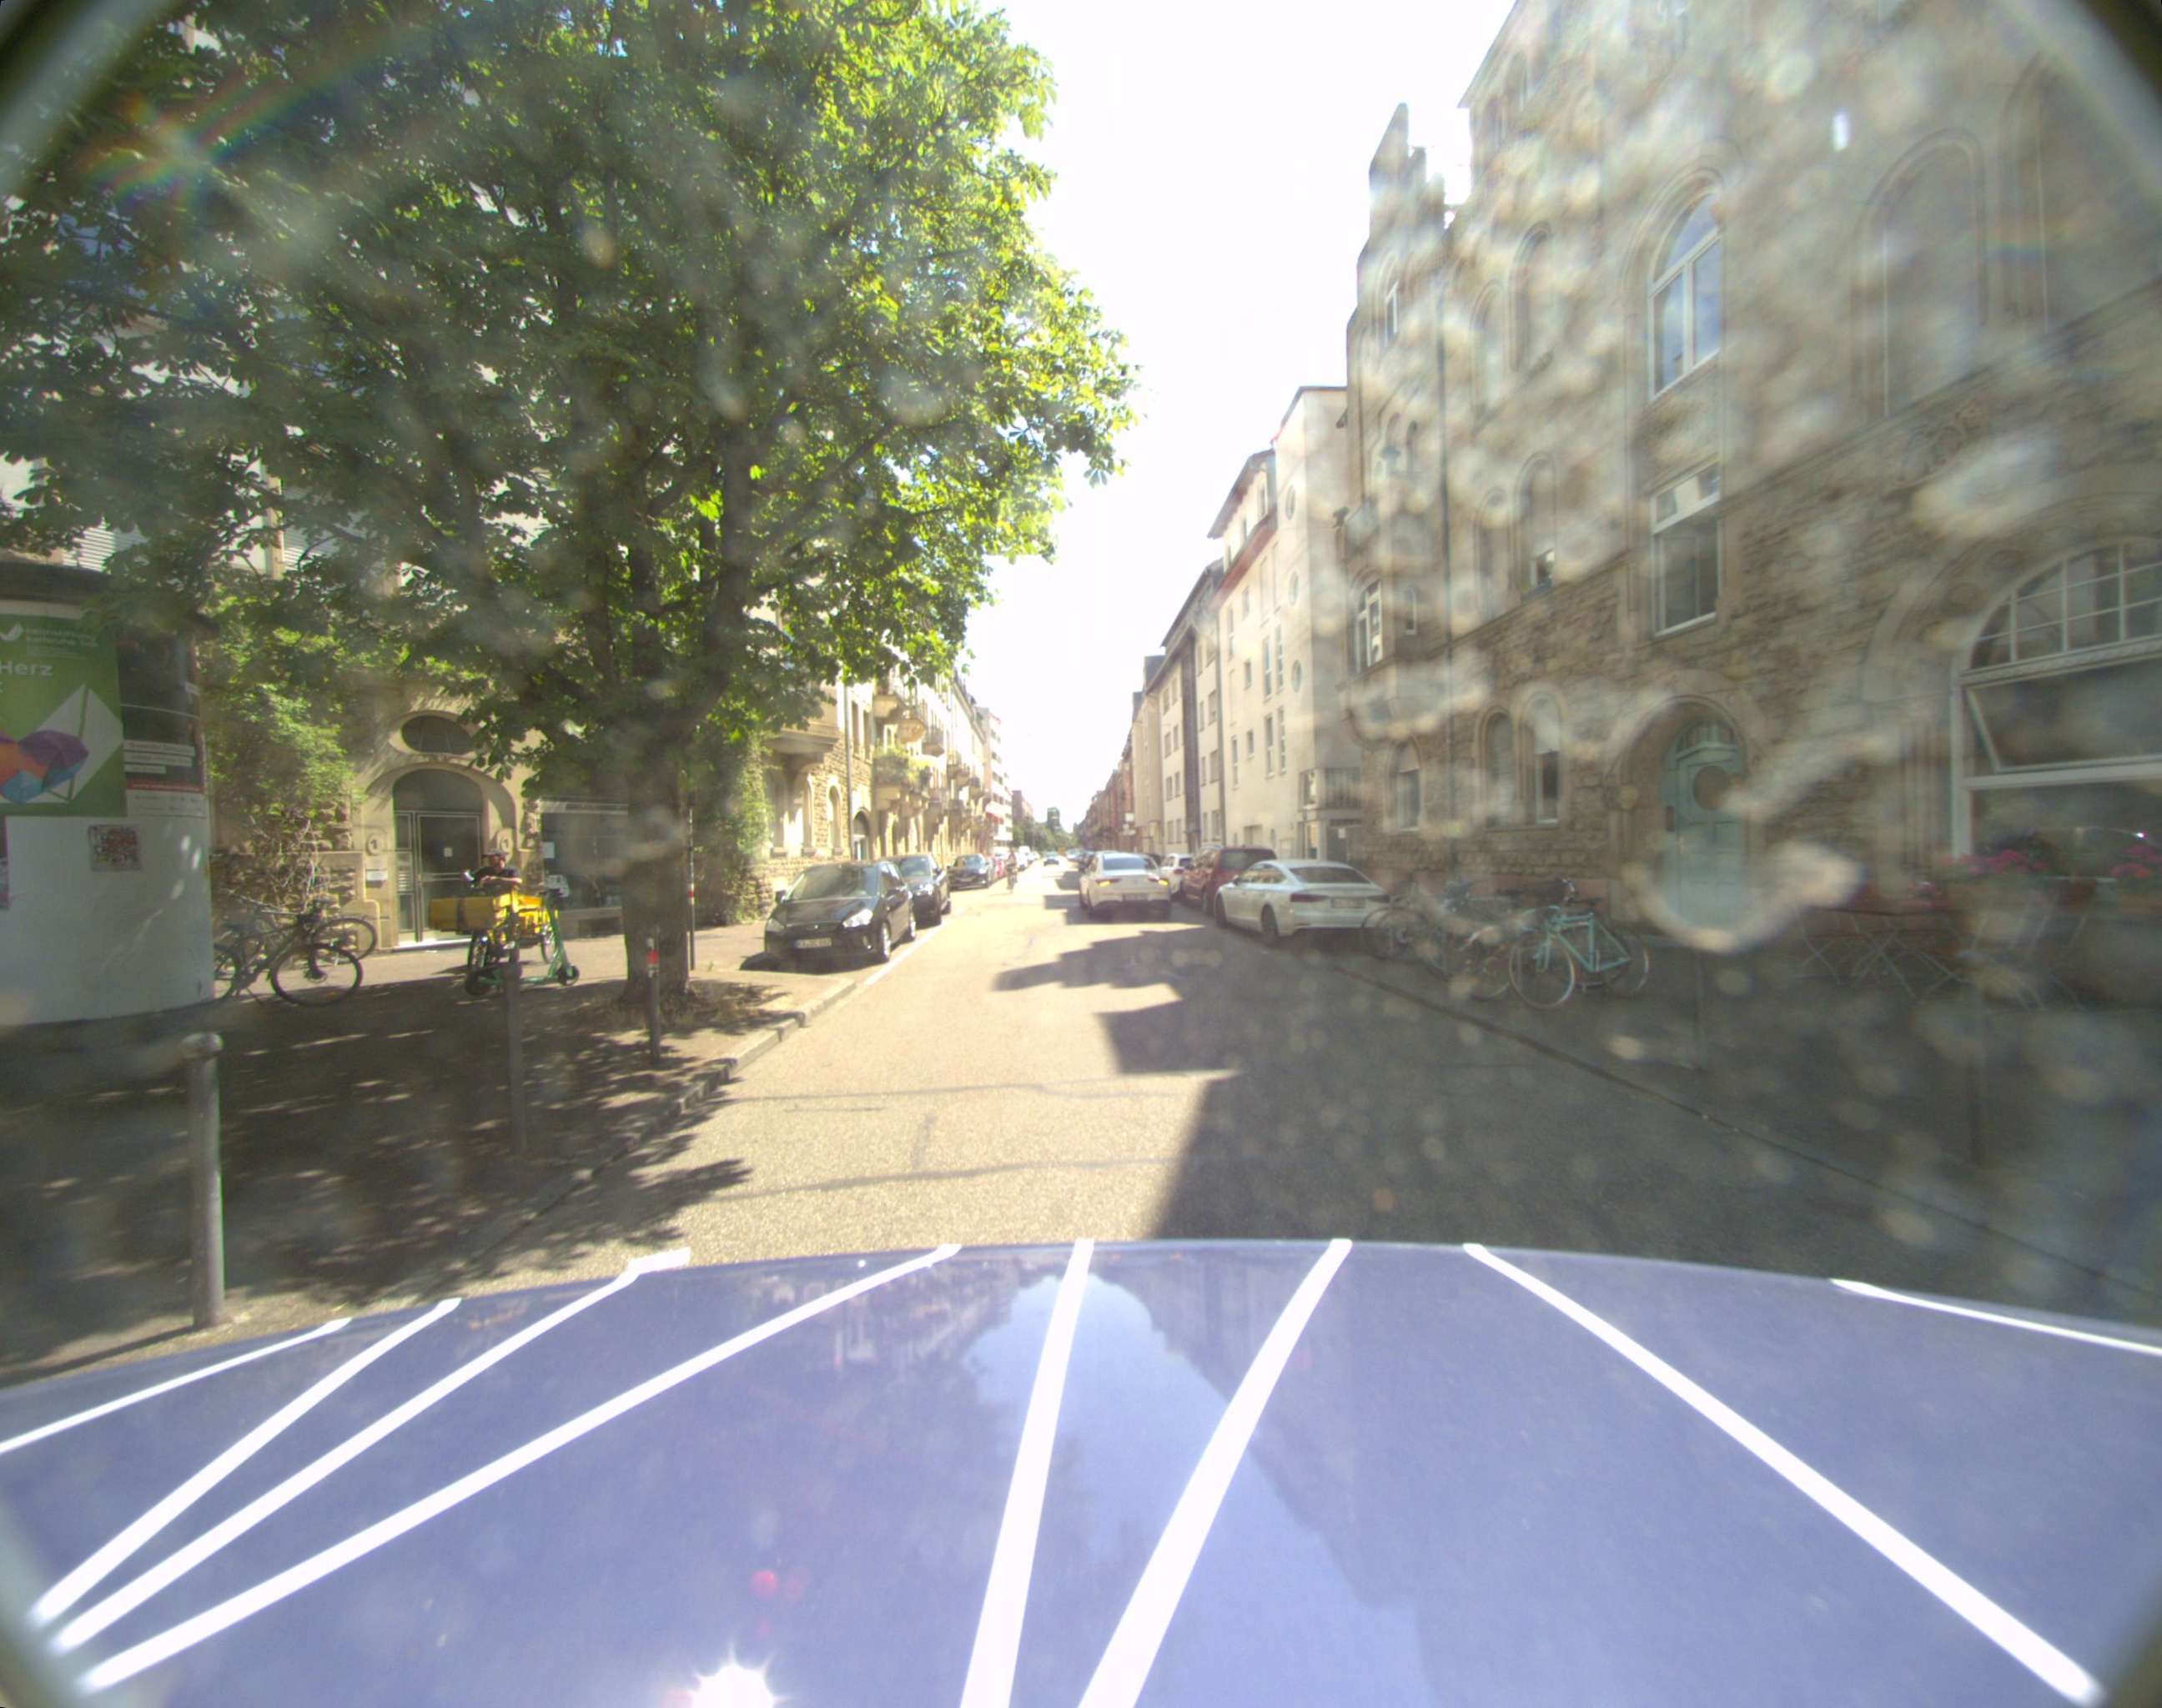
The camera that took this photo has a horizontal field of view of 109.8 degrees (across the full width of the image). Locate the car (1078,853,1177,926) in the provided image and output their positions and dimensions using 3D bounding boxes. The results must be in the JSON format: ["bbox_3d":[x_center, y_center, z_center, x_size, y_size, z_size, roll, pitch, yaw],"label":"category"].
[{"bbox_3d":[0.974,0.748,18.040,1.846,1.452,4.360,1,1,-3],"label":"car"}]

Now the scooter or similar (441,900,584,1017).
[{"bbox_3d":[-6.373,1.133,8.566,0.442,1.130,1.187,0,1,34],"label":"scooter or similar"}]

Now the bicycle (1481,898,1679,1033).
[{"bbox_3d":[4.344,0.946,6.630,1.529,1.002,0.367,-4,1,-7],"label":"bicycle"}]

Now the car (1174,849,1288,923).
[{"bbox_3d":[3.521,0.685,18.594,1.677,1.574,4.050,1,1,-4],"label":"car"}]

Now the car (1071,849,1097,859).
[{"bbox_3d":[0.429,-0.046,118.212,3.997,1.422,1.677,-1,1,-1],"label":"car"}]

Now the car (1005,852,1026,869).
[{"bbox_3d":[-5.951,0.594,69.216,1.828,1.423,4.487,-2,0,-4],"label":"car"}]

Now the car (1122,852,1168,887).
[{"bbox_3d":[2.925,0.666,35.389,1.571,1.483,3.892,1,1,-3],"label":"car"}]

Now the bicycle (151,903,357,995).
[{"bbox_3d":[-11.445,1.271,10.595,0.548,1.033,1.840,0,1,30],"label":"bicycle"}]

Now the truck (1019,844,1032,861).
[{"bbox_3d":[-9.213,-0.332,126.329,1.870,2.715,4.506,-1,1,-2],"label":"truck"}]

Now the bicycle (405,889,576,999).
[{"bbox_3d":[-8.004,1.145,10.498,0.796,1.162,2.575,-1,1,-12],"label":"bicycle"}]

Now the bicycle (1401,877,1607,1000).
[{"bbox_3d":[4.468,0.869,8.051,2.001,1.123,0.436,-3,2,-7],"label":"bicycle"}]

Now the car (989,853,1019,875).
[{"bbox_3d":[-5.829,0.734,57.716,1.721,1.444,4.596,-3,1,0],"label":"car"}]

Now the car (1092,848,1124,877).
[{"bbox_3d":[1.604,0.500,46.423,1.608,1.634,3.975,1,1,-3],"label":"car"}]

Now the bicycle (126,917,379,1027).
[{"bbox_3d":[-8.752,1.227,8.085,1.905,1.033,0.633,-1,1,-2],"label":"bicycle"}]

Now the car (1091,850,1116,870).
[{"bbox_3d":[1.886,0.480,65.269,1.633,1.540,3.851,3,1,-5],"label":"car"}]

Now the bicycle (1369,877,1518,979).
[{"bbox_3d":[4.404,0.884,9.232,1.707,1.094,0.292,-3,2,-7],"label":"bicycle"}]

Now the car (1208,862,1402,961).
[{"bbox_3d":[3.653,0.866,13.319,1.706,1.345,4.512,1,1,-5],"label":"car"}]

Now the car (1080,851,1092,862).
[{"bbox_3d":[0.710,0.296,101.601,1.450,1.391,3.525,3,1,-1],"label":"car"}]

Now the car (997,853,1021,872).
[{"bbox_3d":[-5.966,0.652,63.254,1.741,1.449,4.667,-1,1,-2],"label":"car"}]

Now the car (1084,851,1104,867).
[{"bbox_3d":[1.259,0.495,75.927,1.782,1.421,3.836,3,1,0],"label":"car"}]

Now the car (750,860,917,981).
[{"bbox_3d":[-3.924,0.948,12.775,1.668,1.532,4.175,-4,1,-5],"label":"car"}]

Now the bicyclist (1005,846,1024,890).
[{"bbox_3d":[-2.514,0.509,28.694,0.645,1.640,0.622,-1,1,-1],"label":"bicyclist"}]

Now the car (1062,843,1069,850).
[{"bbox_3d":[-4.397,-2.062,215.727,1.785,2.002,4.000,-2,1,1],"label":"car"}]

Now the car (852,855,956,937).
[{"bbox_3d":[-4.107,0.890,18.278,1.741,1.587,4.345,-4,1,-5],"label":"car"}]

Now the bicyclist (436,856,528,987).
[{"bbox_3d":[-7.893,0.862,10.043,0.680,1.638,0.661,-1,1,-12],"label":"bicyclist"}]

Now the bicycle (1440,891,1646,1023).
[{"bbox_3d":[4.282,0.933,7.064,1.710,1.039,0.414,-4,2,-7],"label":"bicycle"}]

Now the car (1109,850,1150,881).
[{"bbox_3d":[2.574,0.562,41.027,1.661,1.510,4.669,1,1,-3],"label":"car"}]

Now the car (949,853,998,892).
[{"bbox_3d":[-4.967,0.796,35.622,1.838,1.558,4.603,-4,1,-4],"label":"car"}]

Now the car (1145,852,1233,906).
[{"bbox_3d":[3.223,0.701,23.522,1.781,1.451,4.276,1,1,-5],"label":"car"}]

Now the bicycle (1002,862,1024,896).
[{"bbox_3d":[-2.529,0.914,28.548,0.671,1.169,2.094,-1,1,-1],"label":"bicycle"}]

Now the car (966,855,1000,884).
[{"bbox_3d":[-5.301,0.816,41.476,1.516,1.391,3.970,-4,1,-4],"label":"car"}]

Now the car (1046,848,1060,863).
[{"bbox_3d":[-3.223,0.171,88.081,1.625,1.601,3.596,-1,1,-2],"label":"car"}]

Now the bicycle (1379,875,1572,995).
[{"bbox_3d":[4.393,0.882,8.481,1.977,1.123,0.395,-5,2,-7],"label":"bicycle"}]

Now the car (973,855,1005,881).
[{"bbox_3d":[-5.640,0.827,47.047,1.575,1.444,3.841,-4,1,-2],"label":"car"}]

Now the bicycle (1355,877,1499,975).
[{"bbox_3d":[4.345,0.889,9.544,1.707,1.094,0.292,-3,2,-7],"label":"bicycle"}]

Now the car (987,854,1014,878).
[{"bbox_3d":[-5.524,0.804,52.325,1.594,1.444,3.854,-4,1,-3],"label":"car"}]
